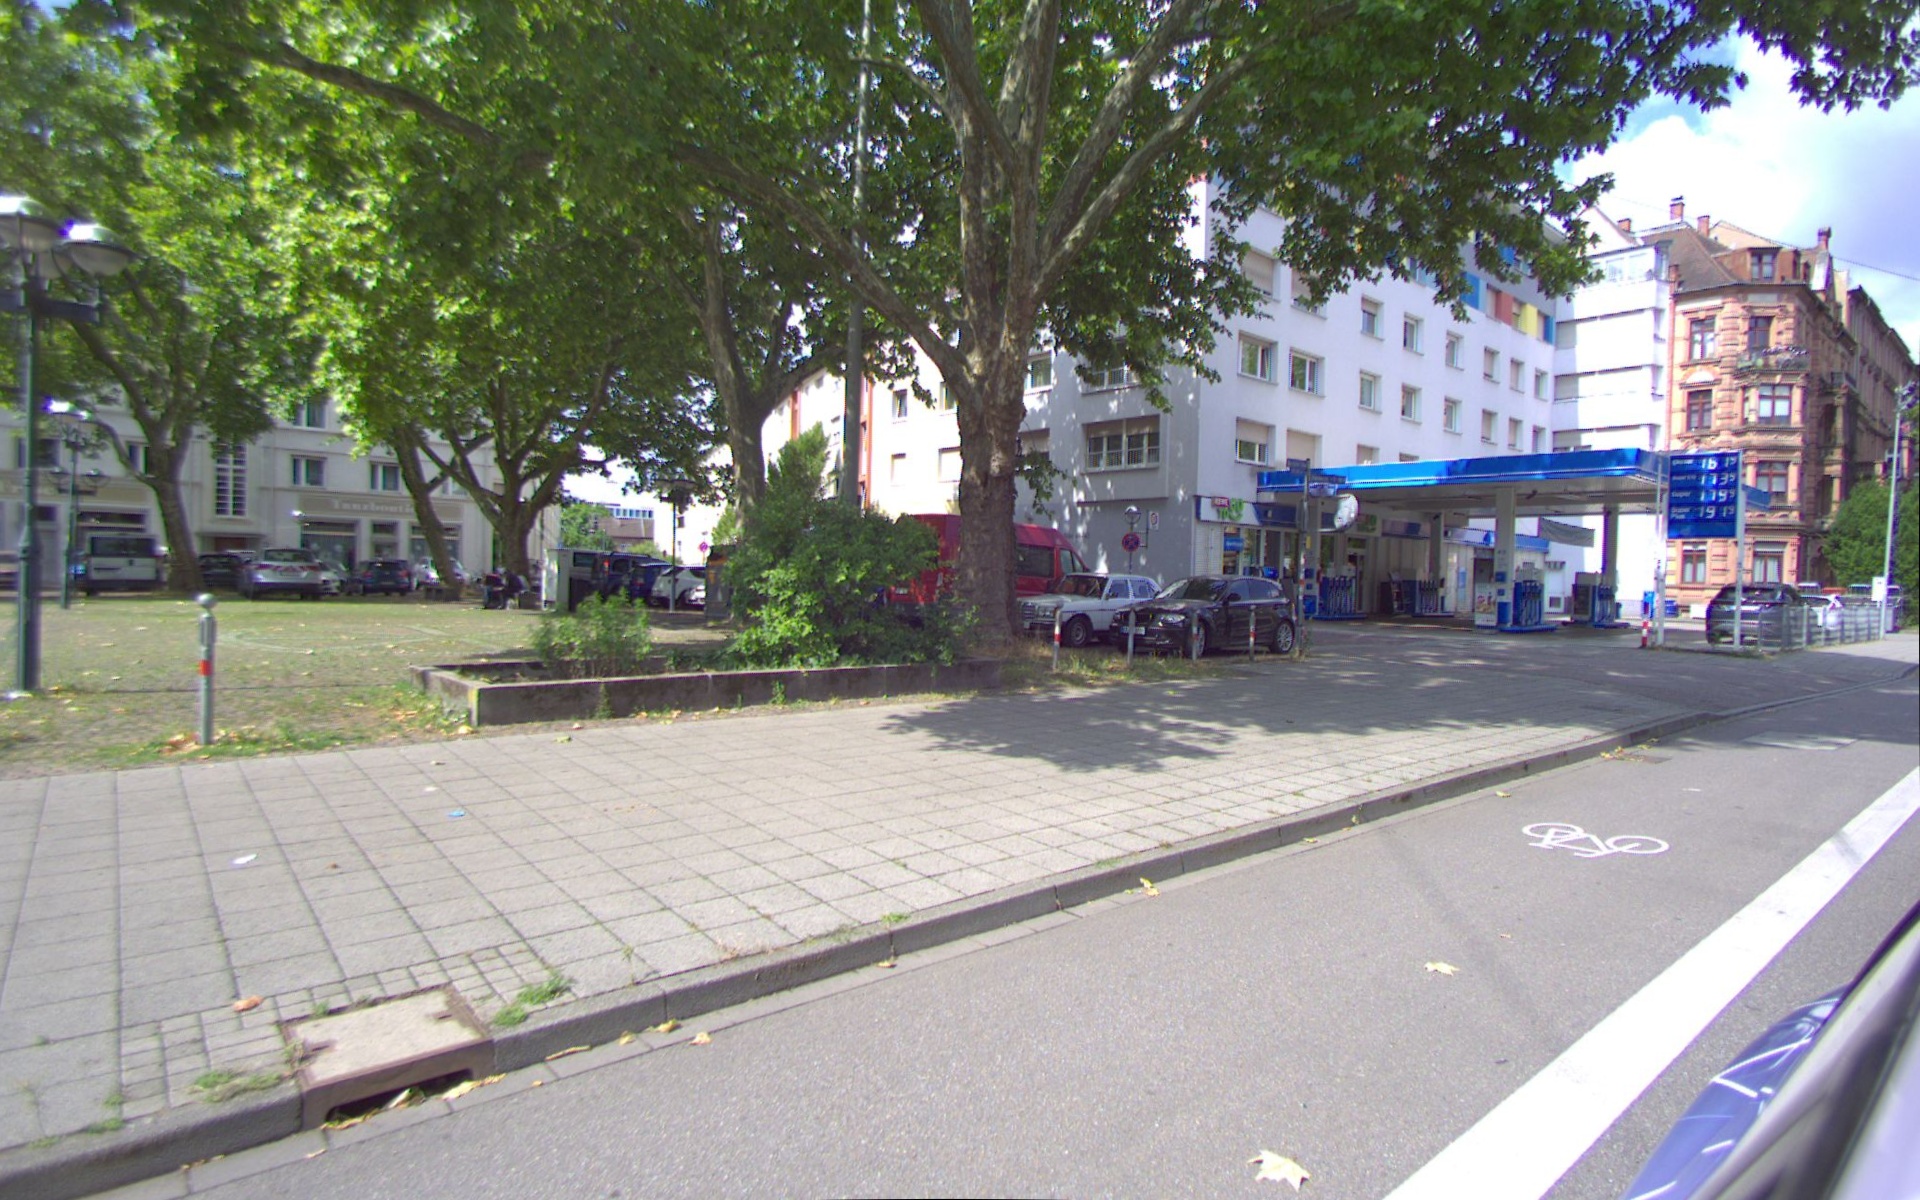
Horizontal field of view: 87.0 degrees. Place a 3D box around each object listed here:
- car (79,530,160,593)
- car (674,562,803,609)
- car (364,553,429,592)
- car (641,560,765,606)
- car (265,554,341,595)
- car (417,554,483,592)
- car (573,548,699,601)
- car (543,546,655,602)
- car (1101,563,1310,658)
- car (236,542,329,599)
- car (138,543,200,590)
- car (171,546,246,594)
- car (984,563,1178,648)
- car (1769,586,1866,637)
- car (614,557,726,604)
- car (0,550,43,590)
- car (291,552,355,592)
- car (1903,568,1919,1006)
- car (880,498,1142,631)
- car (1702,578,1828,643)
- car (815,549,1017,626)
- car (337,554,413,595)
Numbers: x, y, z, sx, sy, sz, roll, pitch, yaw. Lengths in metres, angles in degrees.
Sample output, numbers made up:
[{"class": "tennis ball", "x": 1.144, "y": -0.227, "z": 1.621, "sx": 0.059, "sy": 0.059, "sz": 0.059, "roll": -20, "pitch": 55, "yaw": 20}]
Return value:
[{"class": "car", "x": -29.092, "y": -1.335, "z": 35.072, "sx": 2.040, "sy": 2.038, "sz": 4.264, "roll": 0, "pitch": 2, "yaw": -40}, {"class": "car", "x": -6.762, "y": -0.423, "z": 31.074, "sx": 3.581, "sy": 1.380, "sz": 1.582, "roll": 0, "pitch": 0, "yaw": -43}, {"class": "car", "x": -28.022, "y": -1.370, "z": 50.269, "sx": 2.151, "sy": 1.827, "sz": 4.695, "roll": 0, "pitch": 2, "yaw": -38}, {"class": "car", "x": -8.348, "y": -0.530, "z": 33.010, "sx": 3.581, "sy": 1.433, "sz": 1.647, "roll": 0, "pitch": 0, "yaw": -43}, {"class": "car", "x": -24.831, "y": -0.977, "z": 38.212, "sx": 1.924, "sy": 1.439, "sz": 4.174, "roll": 0, "pitch": 2, "yaw": -40}, {"class": "car", "x": -26.136, "y": -1.397, "z": 51.742, "sx": 2.151, "sy": 1.827, "sz": 4.757, "roll": 0, "pitch": 2, "yaw": -38}, {"class": "car", "x": -11.793, "y": -0.897, "z": 36.967, "sx": 3.979, "sy": 1.843, "sz": 1.824, "roll": 0, "pitch": 0, "yaw": -43}, {"class": "car", "x": -13.693, "y": -0.975, "z": 38.437, "sx": 3.581, "sy": 2.012, "sz": 1.825, "roll": 0, "pitch": 2, "yaw": -43}, {"class": "car", "x": 4.443, "y": 0.150, "z": 18.023, "sx": 3.973, "sy": 1.488, "sz": 1.651, "roll": 0, "pitch": 2, "yaw": -42}, {"class": "car", "x": -21.046, "y": -0.925, "z": 31.367, "sx": 1.964, "sy": 1.656, "sz": 4.162, "roll": 0, "pitch": 2, "yaw": -40}, {"class": "car", "x": -35.032, "y": -1.490, "z": 44.787, "sx": 2.001, "sy": 1.953, "sz": 4.692, "roll": 0, "pitch": 2, "yaw": -40}, {"class": "car", "x": -27.316, "y": -1.100, "z": 36.722, "sx": 1.964, "sy": 1.614, "sz": 4.264, "roll": 0, "pitch": 2, "yaw": -40}, {"class": "car", "x": 2.446, "y": 0.075, "z": 19.859, "sx": 3.976, "sy": 1.488, "sz": 1.650, "roll": 0, "pitch": 2, "yaw": -44}, {"class": "car", "x": 27.286, "y": 0.342, "z": 32.165, "sx": 3.932, "sy": 1.473, "sz": 1.809, "roll": 0, "pitch": 1, "yaw": -41}, {"class": "car", "x": -9.926, "y": -0.643, "z": 34.714, "sx": 3.320, "sy": 1.527, "sz": 1.600, "roll": 0, "pitch": 0, "yaw": -43}, {"class": "car", "x": -38.878, "y": -1.254, "z": 41.249, "sx": 2.001, "sy": 1.569, "sz": 4.692, "roll": 0, "pitch": 2, "yaw": -40}, {"class": "car", "x": -30.654, "y": -1.378, "z": 48.617, "sx": 2.151, "sy": 1.827, "sz": 4.757, "roll": 0, "pitch": 2, "yaw": -38}, {"class": "car", "x": 5.342, "y": 0.594, "z": 4.039, "sx": 4.487, "sy": 1.480, "sz": 1.799, "roll": 0, "pitch": 2, "yaw": -41}, {"class": "car", "x": 1.270, "y": -0.720, "z": 22.591, "sx": 5.911, "sy": 2.614, "sz": 2.117, "roll": 0, "pitch": 2, "yaw": -39}, {"class": "car", "x": 22.019, "y": 0.263, "z": 27.615, "sx": 4.501, "sy": 1.622, "sz": 1.810, "roll": 0, "pitch": 1, "yaw": -40}, {"class": "car", "x": -0.991, "y": -0.284, "z": 24.298, "sx": 4.568, "sy": 1.672, "sz": 2.011, "roll": 0, "pitch": 0, "yaw": -39}, {"class": "car", "x": -23.558, "y": -1.032, "z": 40.716, "sx": 1.964, "sy": 1.543, "sz": 4.162, "roll": 0, "pitch": 2, "yaw": -40}]
